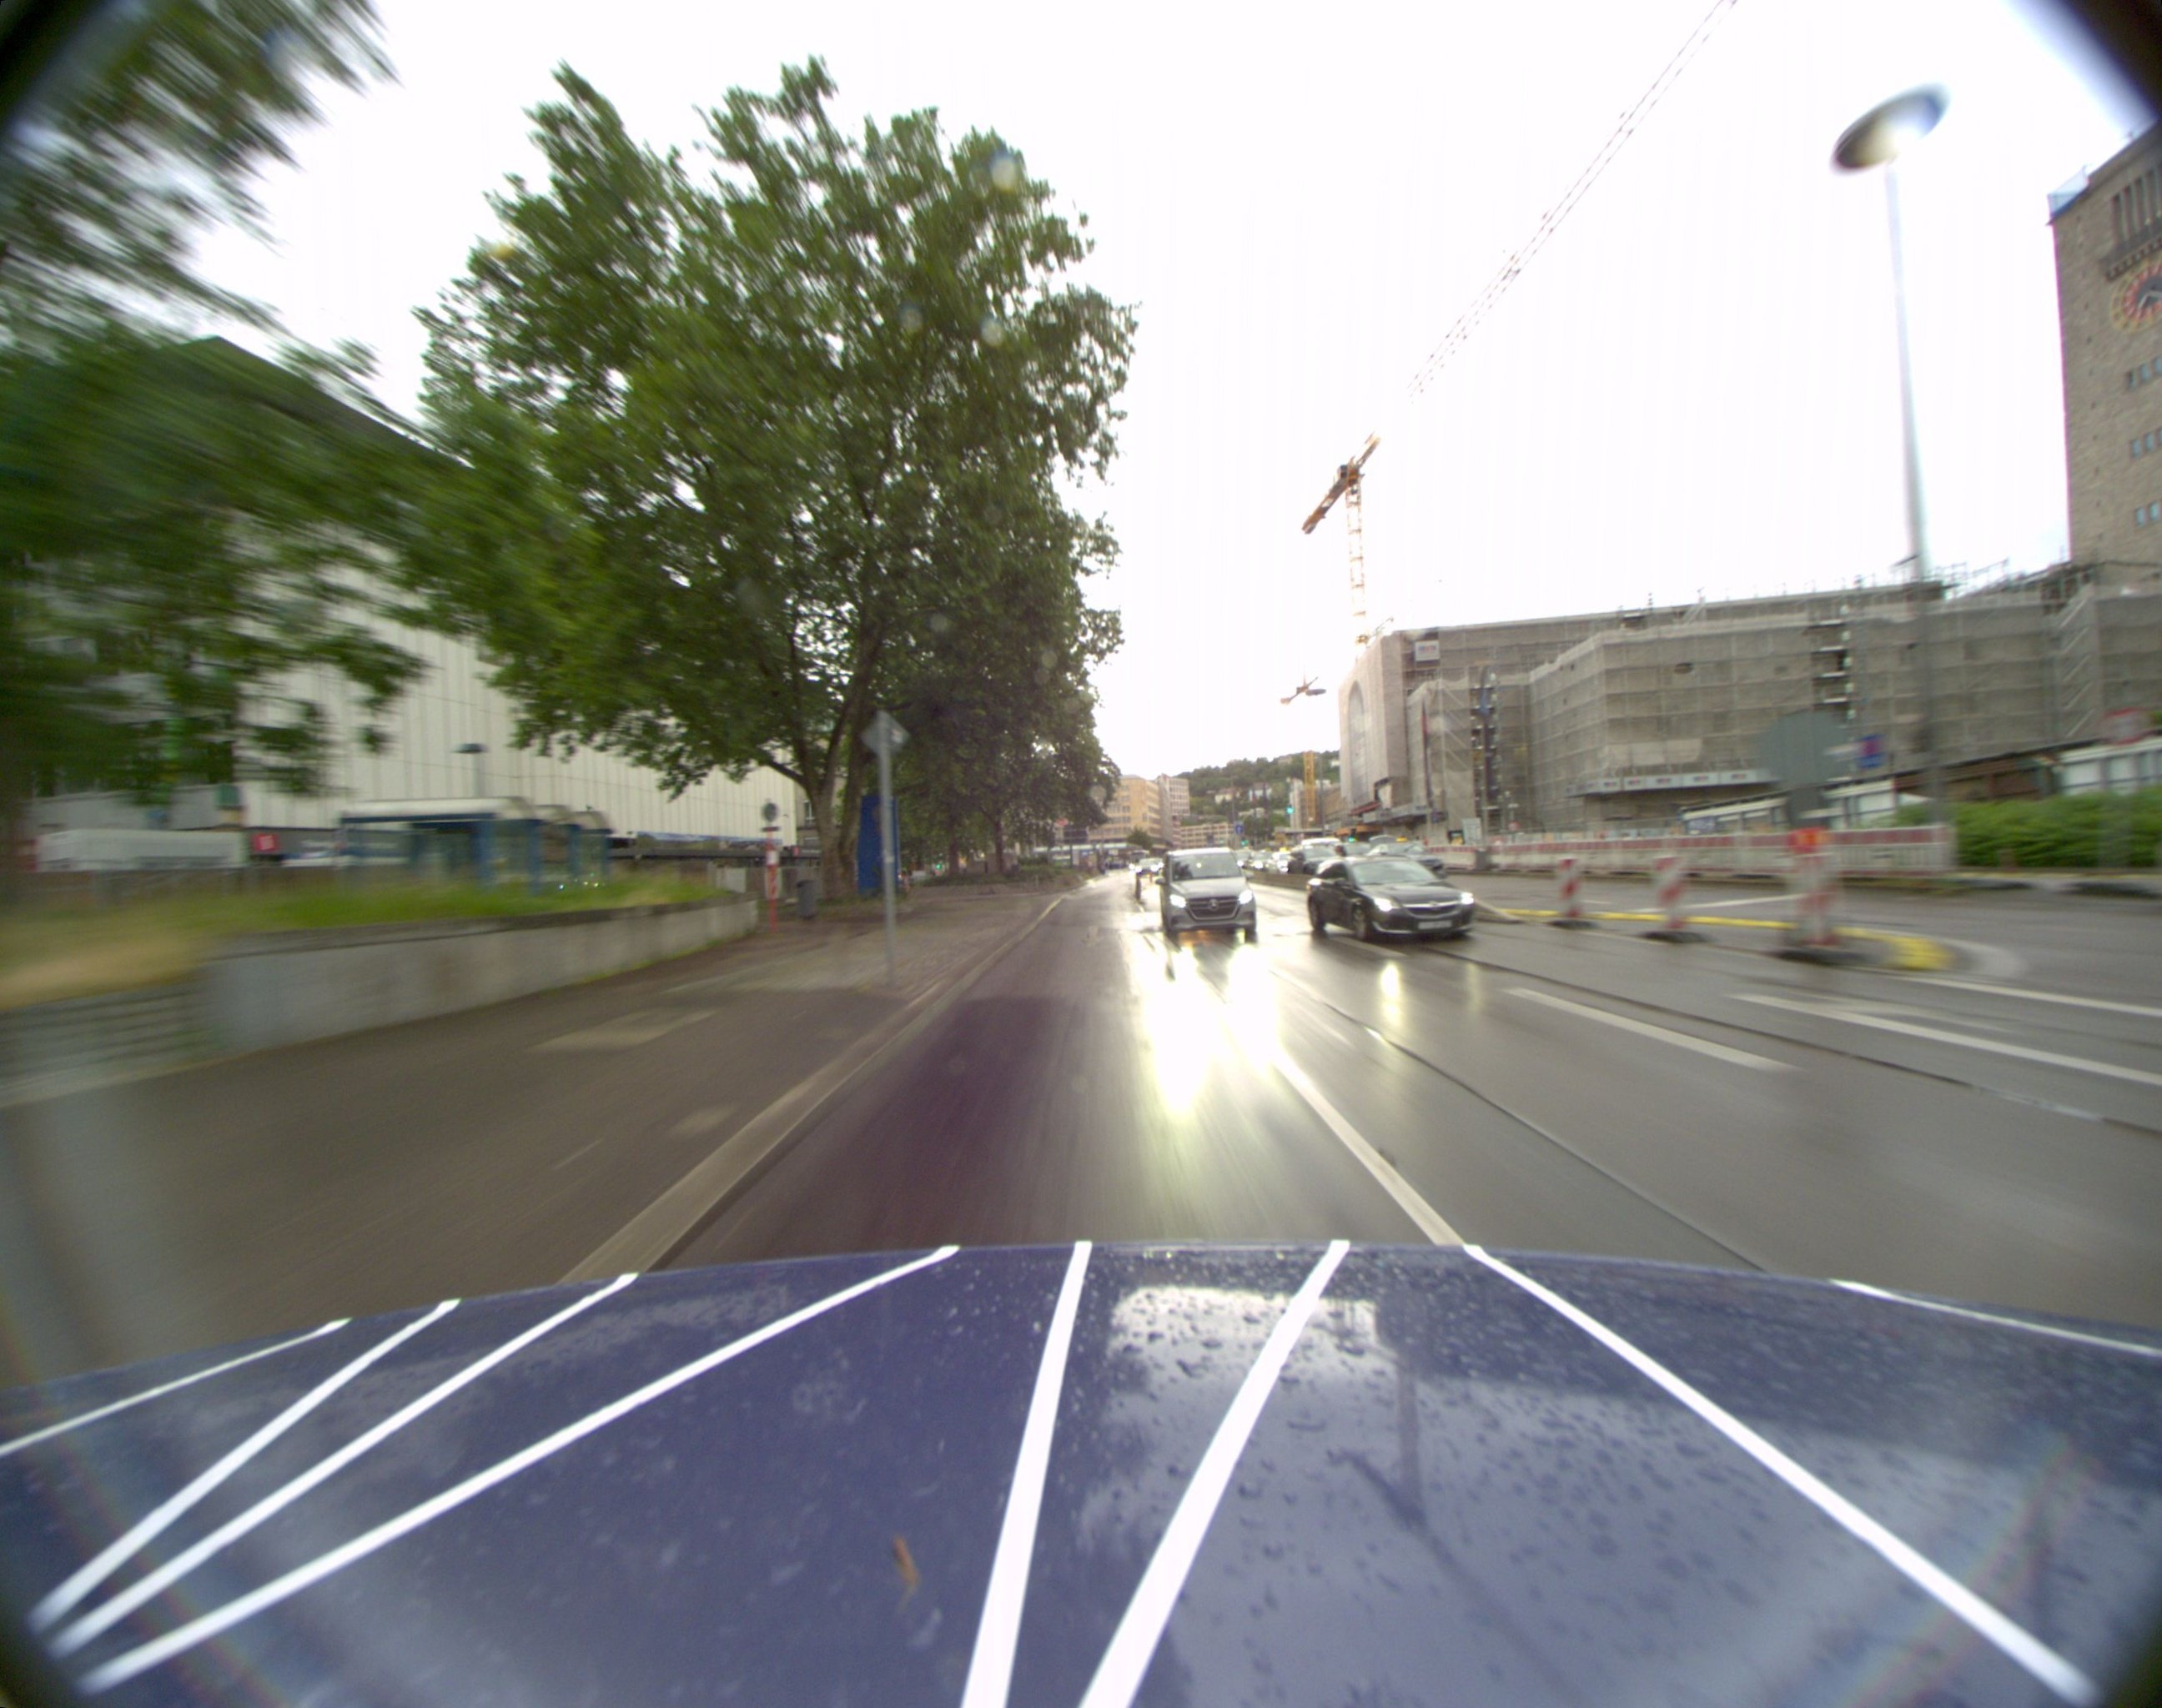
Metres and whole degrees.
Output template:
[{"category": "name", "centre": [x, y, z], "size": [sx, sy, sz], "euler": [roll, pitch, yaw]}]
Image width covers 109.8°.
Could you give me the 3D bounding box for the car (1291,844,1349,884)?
[{"category": "car", "centre": [14.192, 0.606, 45.383], "size": [2.003, 2.194, 4.998], "euler": [-2, -1, 2]}]

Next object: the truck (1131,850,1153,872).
[{"category": "truck", "centre": [9.962, 1.153, 124.944], "size": [3.043, 3.395, 8.955], "euler": [-2, 0, 2]}]

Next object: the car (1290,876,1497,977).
[{"category": "car", "centre": [5.549, 1.202, 14.321], "size": [1.812, 1.455, 4.918], "euler": [-1, -1, -1]}]

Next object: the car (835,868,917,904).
[{"category": "car", "centre": [-9.103, 1.384, 33.550], "size": [3.989, 1.447, 1.705], "euler": [-2, -1, 45]}]

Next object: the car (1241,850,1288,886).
[{"category": "car", "centre": [11.488, 0.877, 47.859], "size": [1.998, 2.101, 4.715], "euler": [-2, -1, 3]}]

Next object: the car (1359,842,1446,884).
[{"category": "car", "centre": [13.657, 0.383, 32.570], "size": [1.832, 1.643, 4.574], "euler": [-2, -1, 1]}]

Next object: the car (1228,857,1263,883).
[{"category": "car", "centre": [11.702, 1.078, 54.309], "size": [1.997, 1.706, 4.757], "euler": [-2, 0, 7]}]

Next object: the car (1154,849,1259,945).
[{"category": "car", "centre": [2.904, 0.922, 18.264], "size": [1.997, 1.845, 5.361], "euler": [-4, -1, 7]}]

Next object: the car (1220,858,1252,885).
[{"category": "car", "centre": [12.209, 1.353, 60.179], "size": [1.998, 2.002, 4.002], "euler": [-2, 0, 6]}]

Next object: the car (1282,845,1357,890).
[{"category": "car", "centre": [10.380, 0.578, 33.431], "size": [1.998, 1.803, 4.293], "euler": [-2, 0, 1]}]

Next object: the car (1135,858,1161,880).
[{"category": "car", "centre": [5.747, 1.252, 65.494], "size": [1.998, 1.753, 4.001], "euler": [-2, -1, 1]}]

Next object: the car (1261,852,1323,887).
[{"category": "car", "centre": [10.806, 0.805, 39.230], "size": [1.998, 1.644, 4.903], "euler": [-2, -1, 3]}]

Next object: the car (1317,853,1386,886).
[{"category": "car", "centre": [13.803, 0.787, 39.066], "size": [2.172, 1.563, 4.001], "euler": [-2, -1, 1]}]
